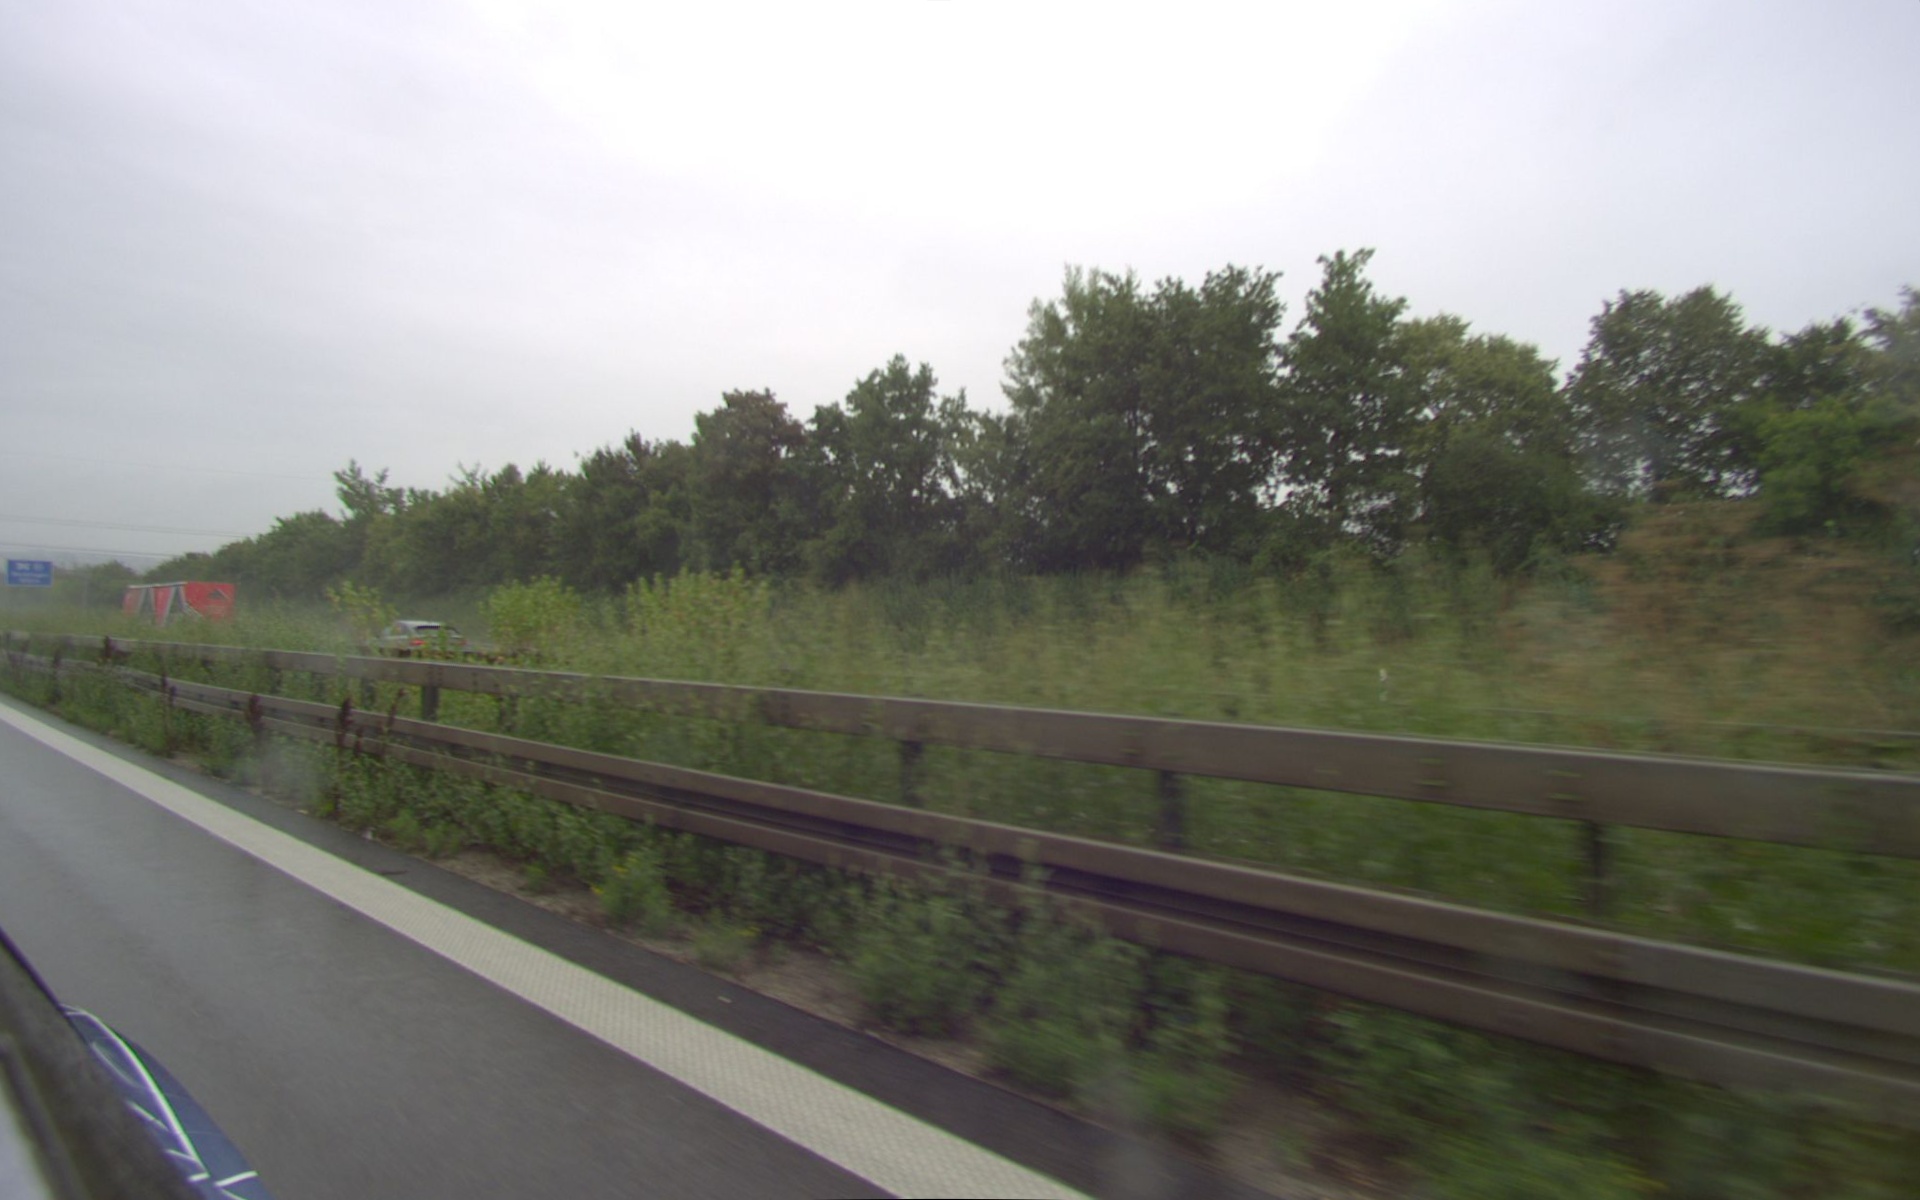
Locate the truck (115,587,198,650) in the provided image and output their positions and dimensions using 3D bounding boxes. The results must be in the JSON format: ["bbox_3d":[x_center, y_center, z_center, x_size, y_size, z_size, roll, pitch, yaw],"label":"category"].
[{"bbox_3d":[-58.548,1.332,73.603,11.346,4.262,2.670,-1,-1,41],"label":"truck"}]

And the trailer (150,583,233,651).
[{"bbox_3d":[-51.028,1.098,67.087,8.484,4.262,2.670,-1,-1,41],"label":"trailer"}]

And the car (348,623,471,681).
[{"bbox_3d":[-17.524,1.610,32.094,4.955,1.695,1.777,-1,-3,41],"label":"car"}]
